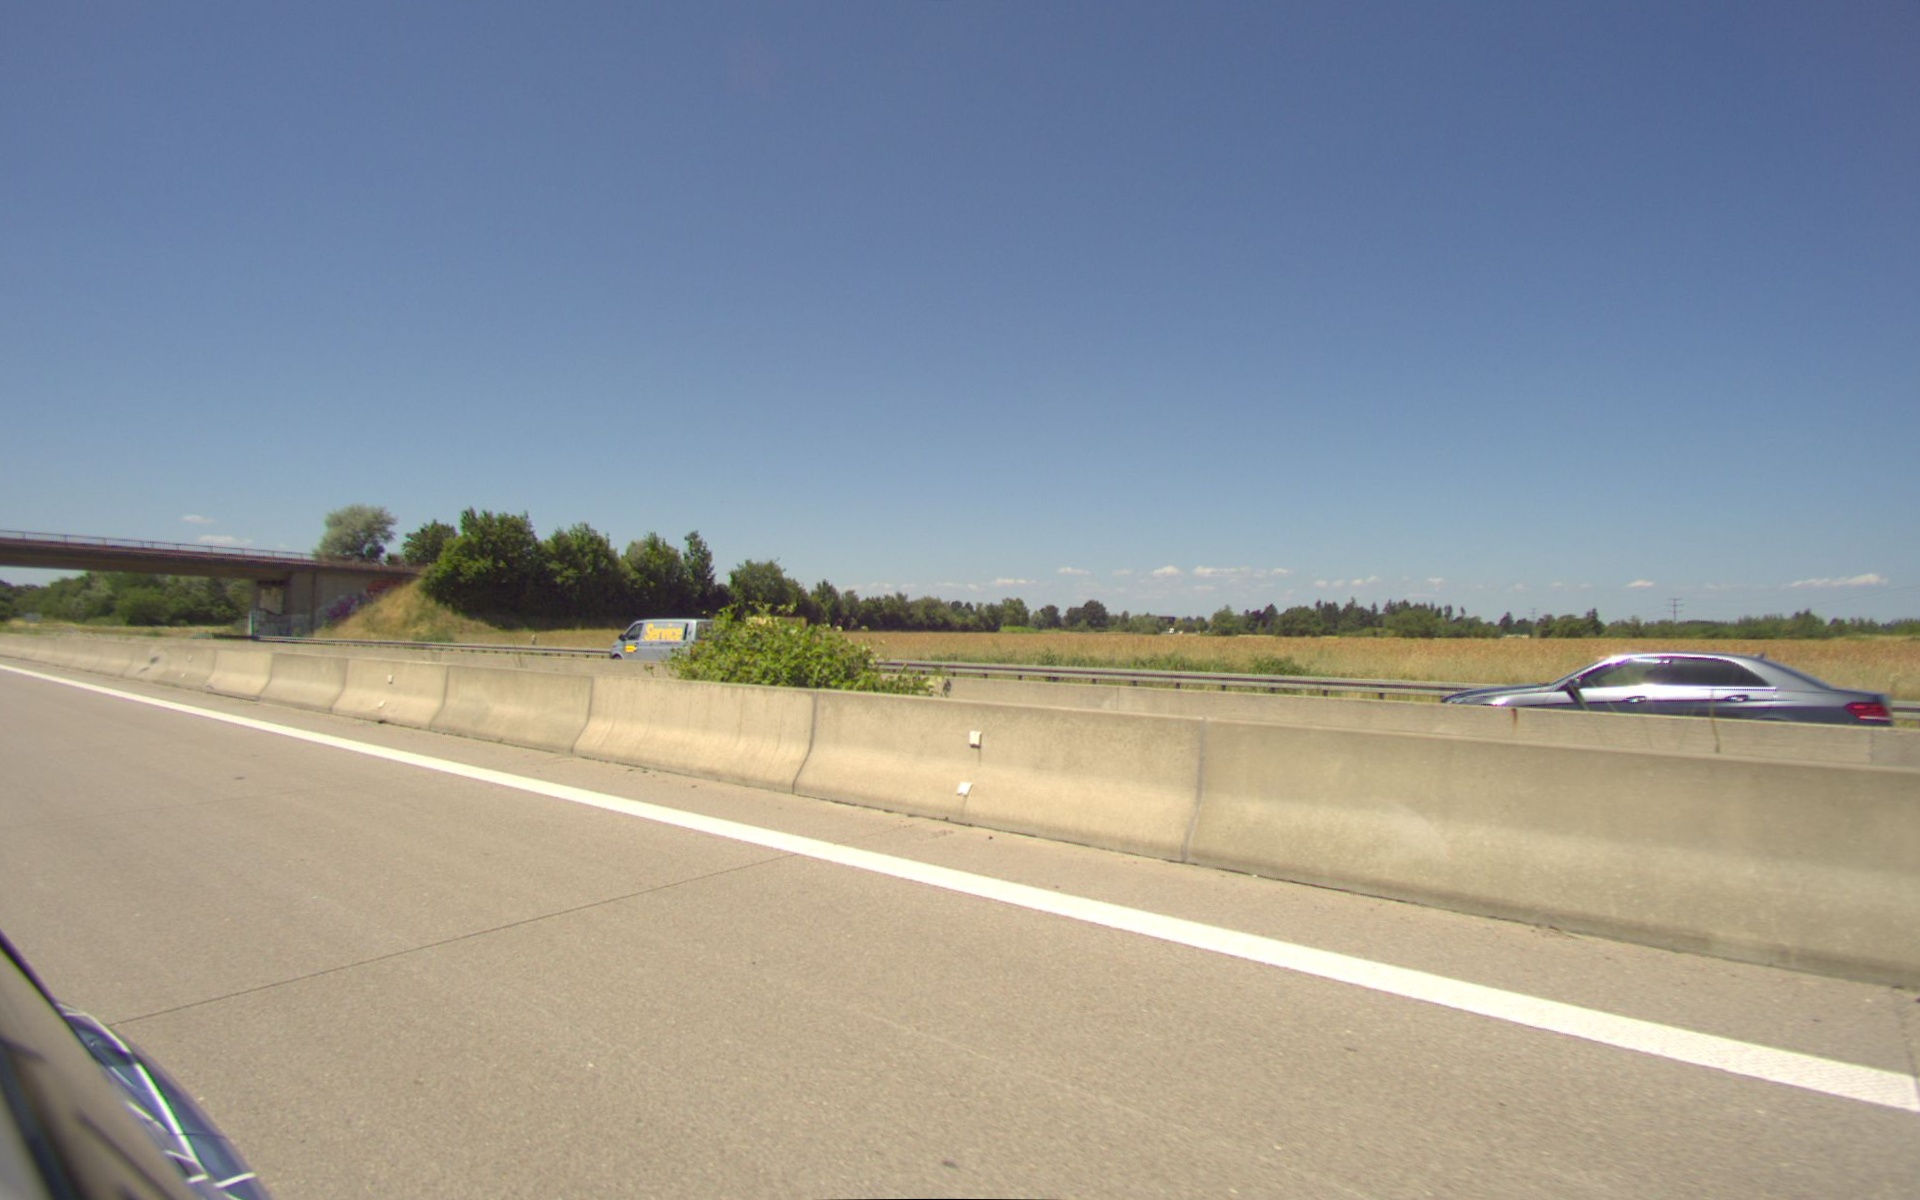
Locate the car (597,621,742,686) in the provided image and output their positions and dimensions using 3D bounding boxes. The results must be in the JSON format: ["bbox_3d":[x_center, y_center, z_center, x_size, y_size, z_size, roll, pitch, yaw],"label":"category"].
[{"bbox_3d":[-9.637,1.680,33.324,5.562,1.959,1.846,-1,0,41],"label":"car"}]

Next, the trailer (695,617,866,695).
[{"bbox_3d":[-5.350,1.553,29.660,5.610,2.058,1.791,-1,0,41],"label":"trailer"}]

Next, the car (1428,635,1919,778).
[{"bbox_3d":[8.674,1.164,12.455,5.039,1.370,1.695,-1,0,40],"label":"car"}]
